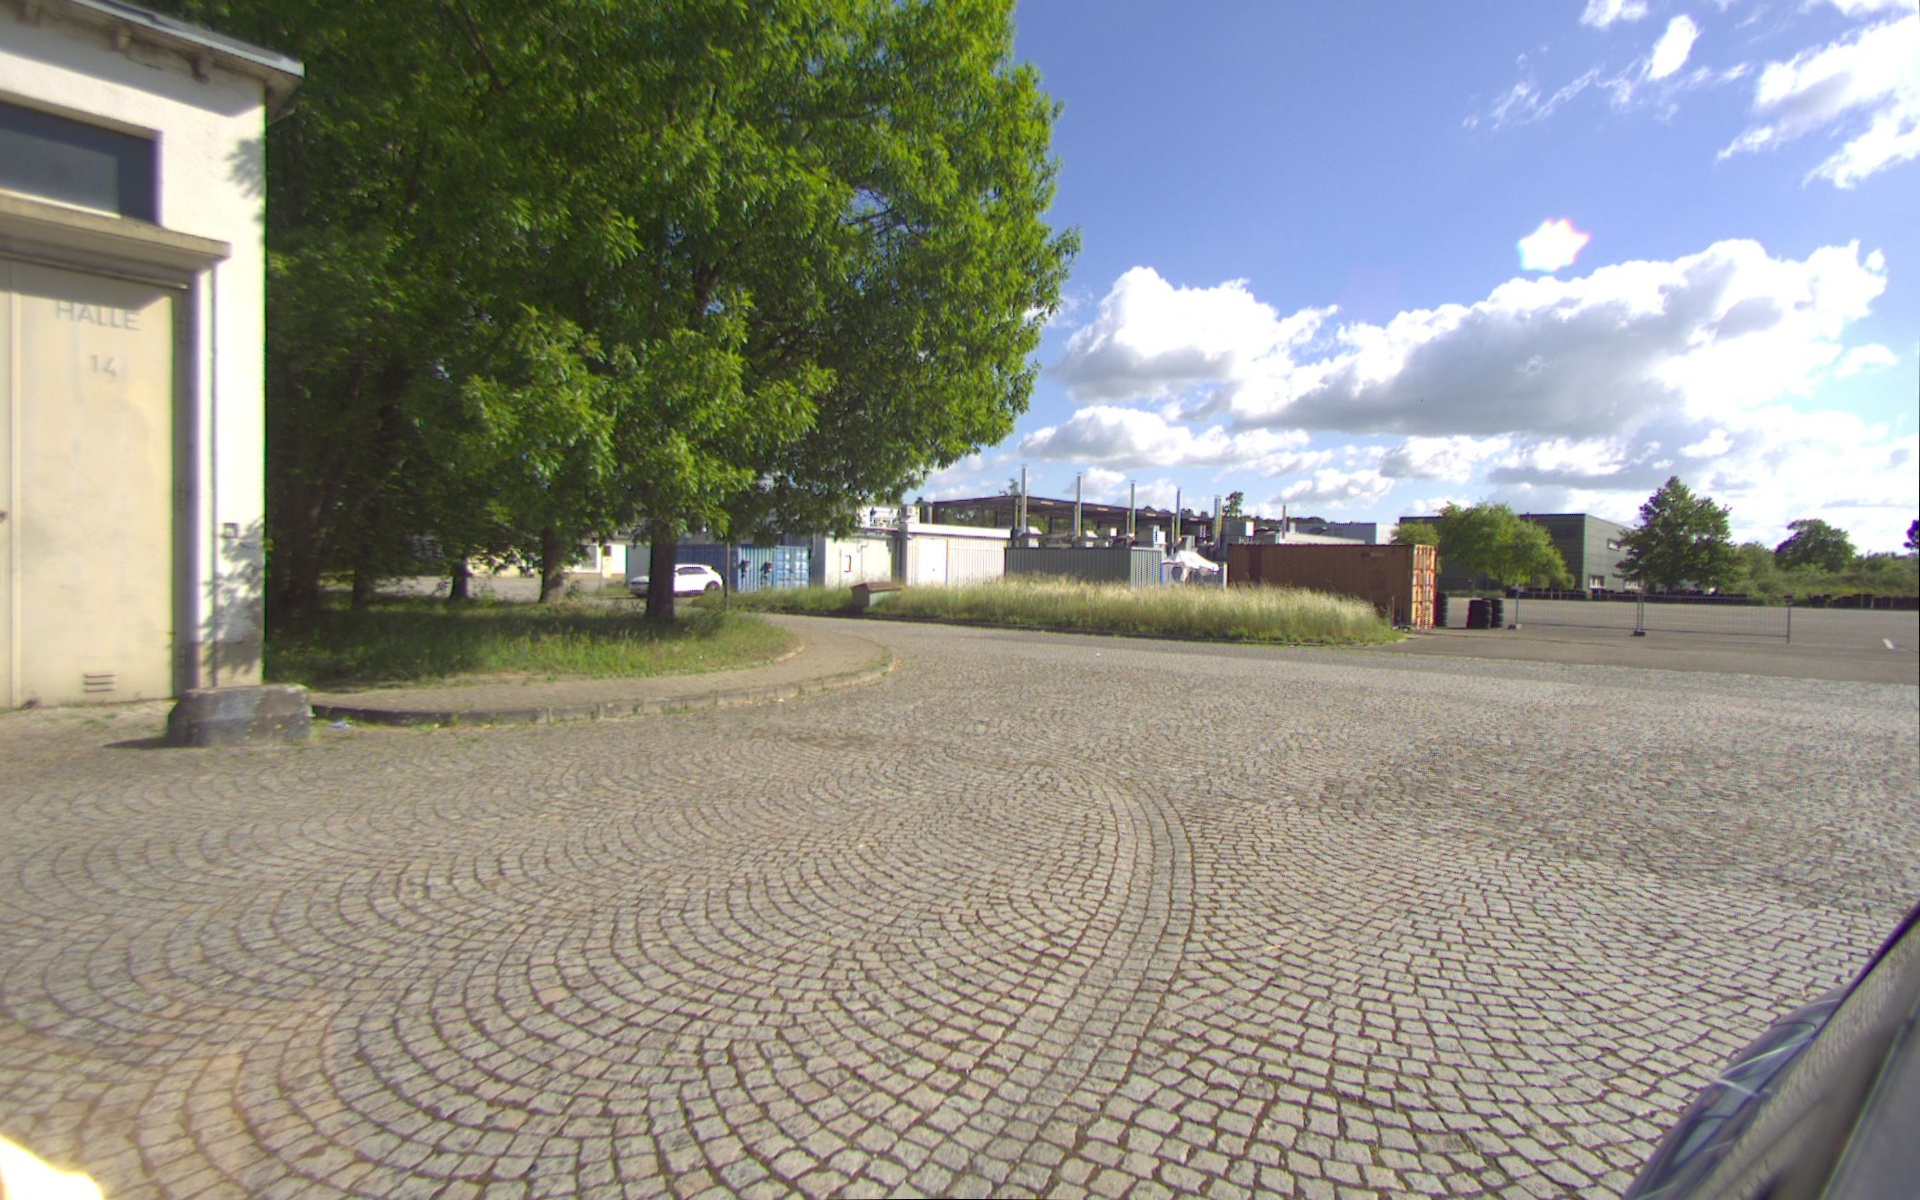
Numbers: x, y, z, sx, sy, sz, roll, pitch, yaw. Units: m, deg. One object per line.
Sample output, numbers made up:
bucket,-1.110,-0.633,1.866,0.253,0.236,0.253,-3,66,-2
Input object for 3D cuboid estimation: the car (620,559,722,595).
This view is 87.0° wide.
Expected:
car,-13.968,-1.131,49.096,1.991,1.668,4.454,2,2,40
